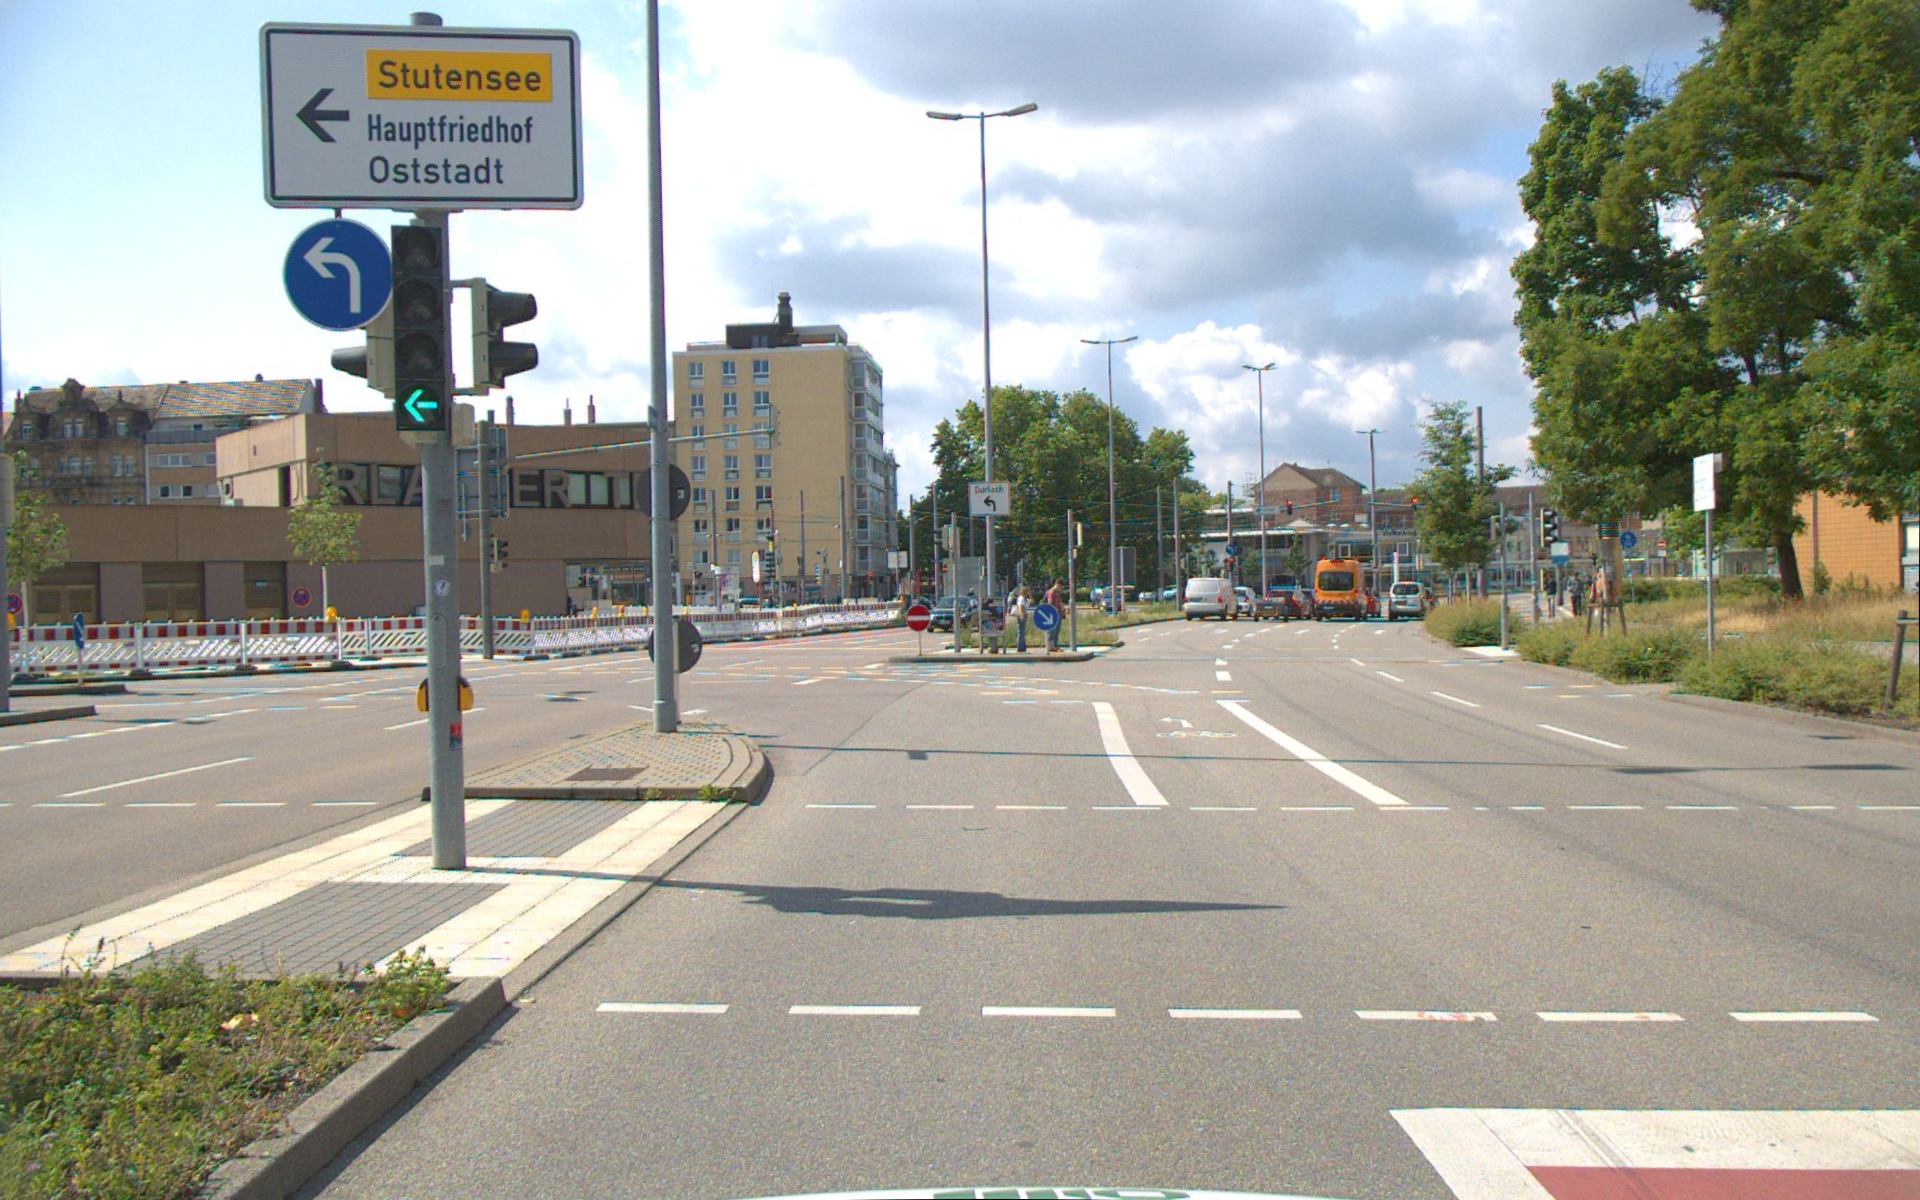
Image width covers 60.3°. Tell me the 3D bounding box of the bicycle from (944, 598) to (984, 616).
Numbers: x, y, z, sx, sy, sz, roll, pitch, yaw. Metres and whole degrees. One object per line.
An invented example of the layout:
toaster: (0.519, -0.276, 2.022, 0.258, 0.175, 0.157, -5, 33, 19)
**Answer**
bicycle: (0.239, 0.438, 102.172, 2.329, 1.085, 0.859, -1, 0, 18)

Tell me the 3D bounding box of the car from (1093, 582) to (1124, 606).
car: (9.613, -0.408, 106.907, 1.626, 1.506, 4.065, 1, 1, 10)

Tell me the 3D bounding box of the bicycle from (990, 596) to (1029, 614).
bicycle: (3.196, 0.316, 106.997, 2.329, 1.085, 0.843, -1, 0, 18)

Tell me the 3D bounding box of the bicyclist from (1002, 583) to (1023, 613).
bicyclist: (3.395, -0.129, 106.929, 1.194, 1.943, 0.834, -1, 0, 17)

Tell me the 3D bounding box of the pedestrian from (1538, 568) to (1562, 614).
pedestrian: (23.905, -0.367, 67.054, 0.773, 1.815, 0.666, -1, 0, 30)

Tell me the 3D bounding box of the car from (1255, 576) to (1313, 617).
car: (15.493, -0.191, 78.864, 1.953, 1.858, 4.000, -2, 0, 22)

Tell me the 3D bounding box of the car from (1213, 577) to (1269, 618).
car: (14.534, -0.166, 85.425, 1.950, 1.972, 4.639, -2, 0, 21)

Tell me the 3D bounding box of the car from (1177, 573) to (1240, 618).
car: (11.762, -0.255, 78.087, 1.964, 2.001, 4.639, -2, 0, 21)

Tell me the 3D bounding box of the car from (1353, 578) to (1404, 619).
car: (21.341, -0.093, 84.206, 1.950, 1.972, 4.639, -2, 0, 21)

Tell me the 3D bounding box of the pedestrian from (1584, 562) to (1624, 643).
pedestrian: (14.158, 0.053, 36.349, 0.646, 1.763, 0.578, -1, 0, 4)

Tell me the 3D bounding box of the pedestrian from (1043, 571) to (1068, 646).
pedestrian: (2.255, 0.194, 39.133, 0.513, 1.763, 0.624, -1, 0, 6)

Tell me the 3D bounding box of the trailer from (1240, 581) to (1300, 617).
trailer: (14.172, -0.049, 75.461, 1.953, 1.503, 4.000, -2, 0, 22)

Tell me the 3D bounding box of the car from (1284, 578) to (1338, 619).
car: (18.068, -0.077, 84.997, 1.950, 1.972, 4.639, -2, 0, 21)

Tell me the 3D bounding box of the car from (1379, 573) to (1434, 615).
car: (20.880, -0.287, 77.215, 1.953, 1.826, 4.000, -2, 0, 22)

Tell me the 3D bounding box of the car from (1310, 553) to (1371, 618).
car: (17.564, -0.684, 76.170, 2.086, 2.829, 4.639, -2, 0, 21)

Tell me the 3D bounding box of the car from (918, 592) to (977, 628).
car: (-0.480, 0.391, 68.810, 1.754, 1.412, 4.231, -1, 0, 10)

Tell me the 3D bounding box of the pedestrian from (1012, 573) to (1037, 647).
pedestrian: (1.573, 0.246, 40.174, 0.513, 1.763, 0.624, -1, 0, 6)

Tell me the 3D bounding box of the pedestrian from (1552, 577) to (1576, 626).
pedestrian: (22.711, 0.051, 62.205, 0.771, 1.815, 0.667, -1, 0, 18)

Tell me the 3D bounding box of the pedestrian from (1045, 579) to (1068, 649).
pedestrian: (2.405, 0.345, 41.258, 0.513, 1.713, 0.624, -1, 0, 6)
